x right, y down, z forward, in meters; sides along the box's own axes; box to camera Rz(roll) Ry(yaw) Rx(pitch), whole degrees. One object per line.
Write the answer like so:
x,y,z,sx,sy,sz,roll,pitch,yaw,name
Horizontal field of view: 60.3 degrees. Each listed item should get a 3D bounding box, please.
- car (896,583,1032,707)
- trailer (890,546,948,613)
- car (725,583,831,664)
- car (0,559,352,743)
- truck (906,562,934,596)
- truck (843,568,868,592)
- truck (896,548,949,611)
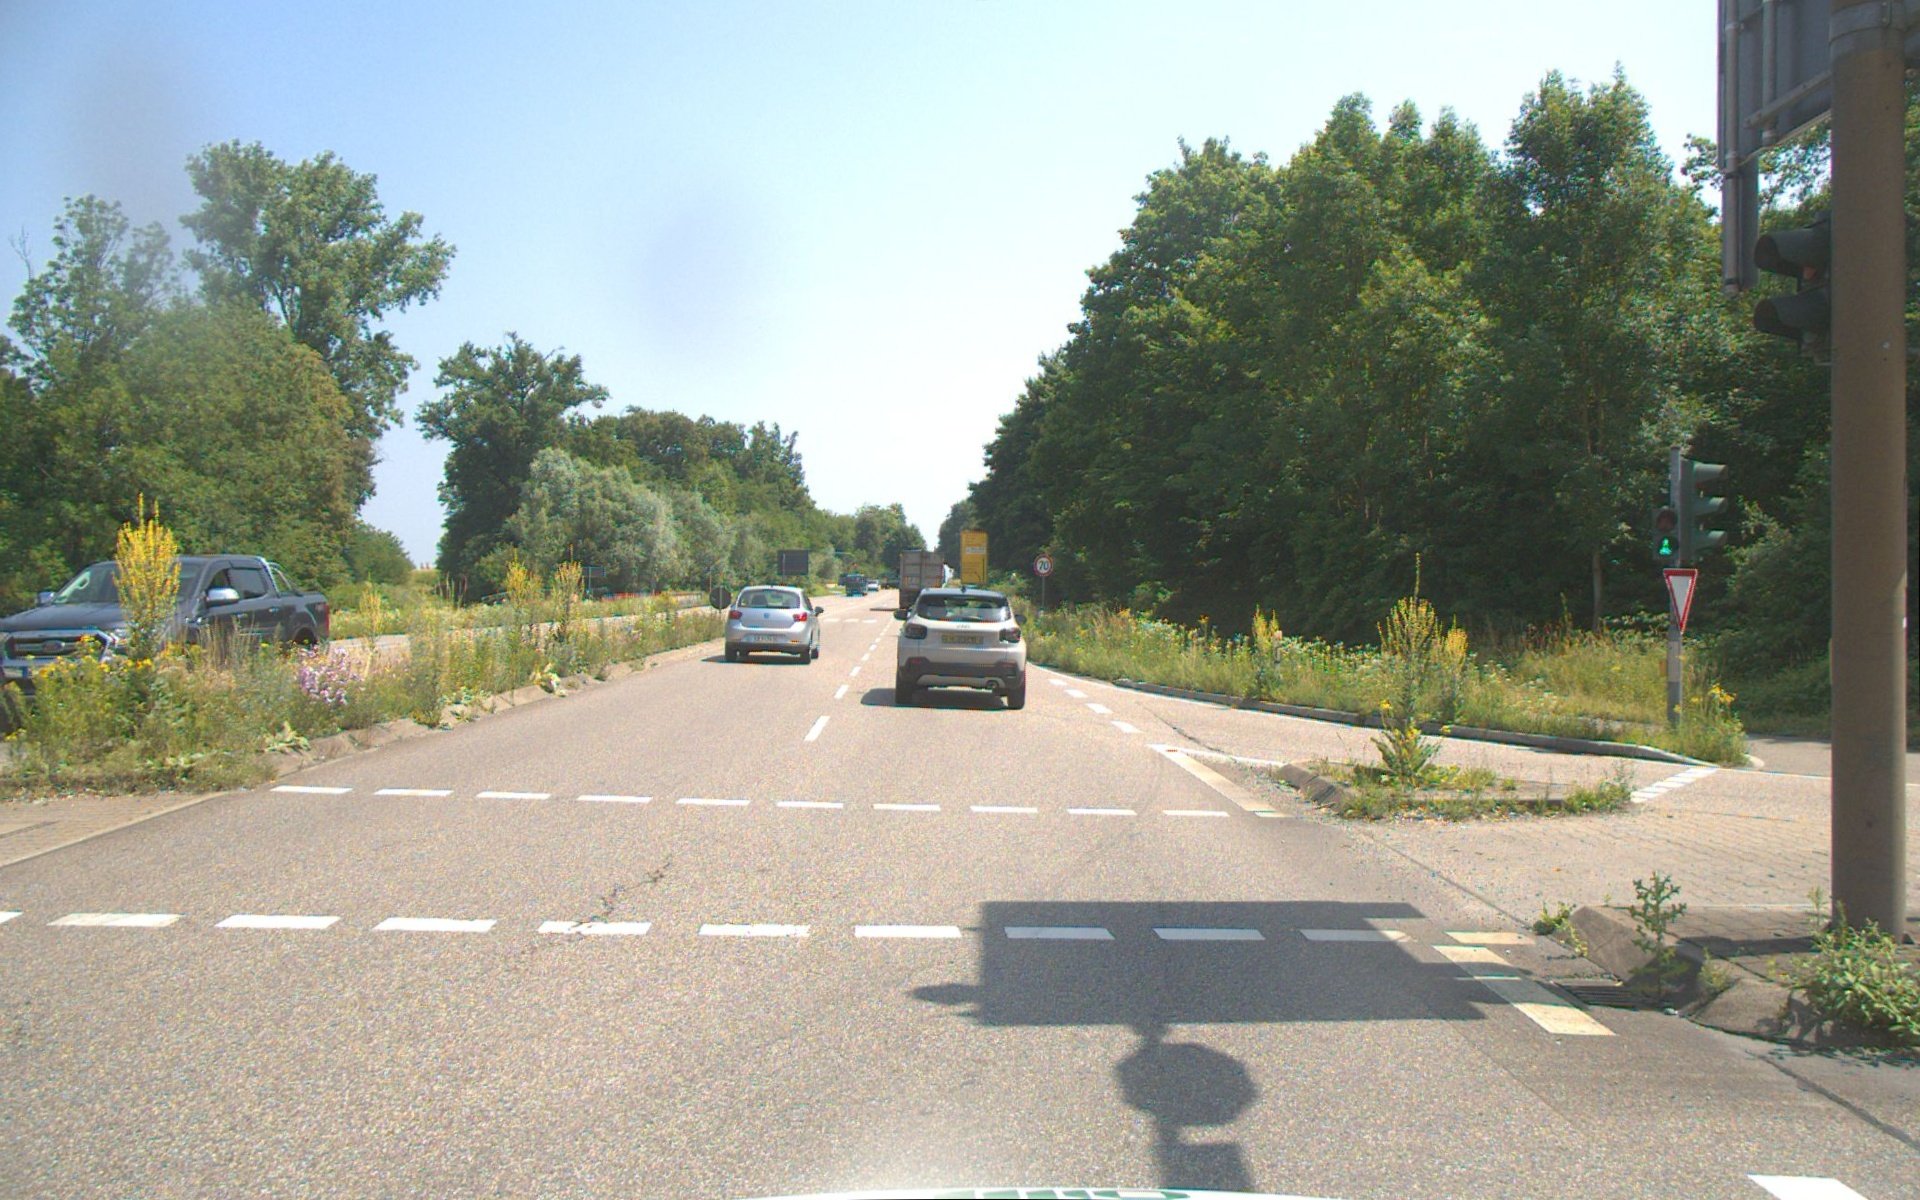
0.044,0.551,23.232,1.731,1.561,4.000,1,1,0,car
-2.566,-1.274,106.692,3.313,4.058,10.804,1,0,0,trailer
-3.527,0.419,32.548,1.632,1.454,3.828,1,1,0,car
-8.719,0.451,18.326,1.953,1.707,5.365,-1,1,0,car
-5.204,-2.696,216.379,3.426,4.260,10.781,1,0,-1,truck
-12.489,-2.406,198.060,2.404,2.702,6.491,-3,1,0,truck
-2.493,-1.352,111.628,3.264,4.058,6.533,1,0,0,truck
